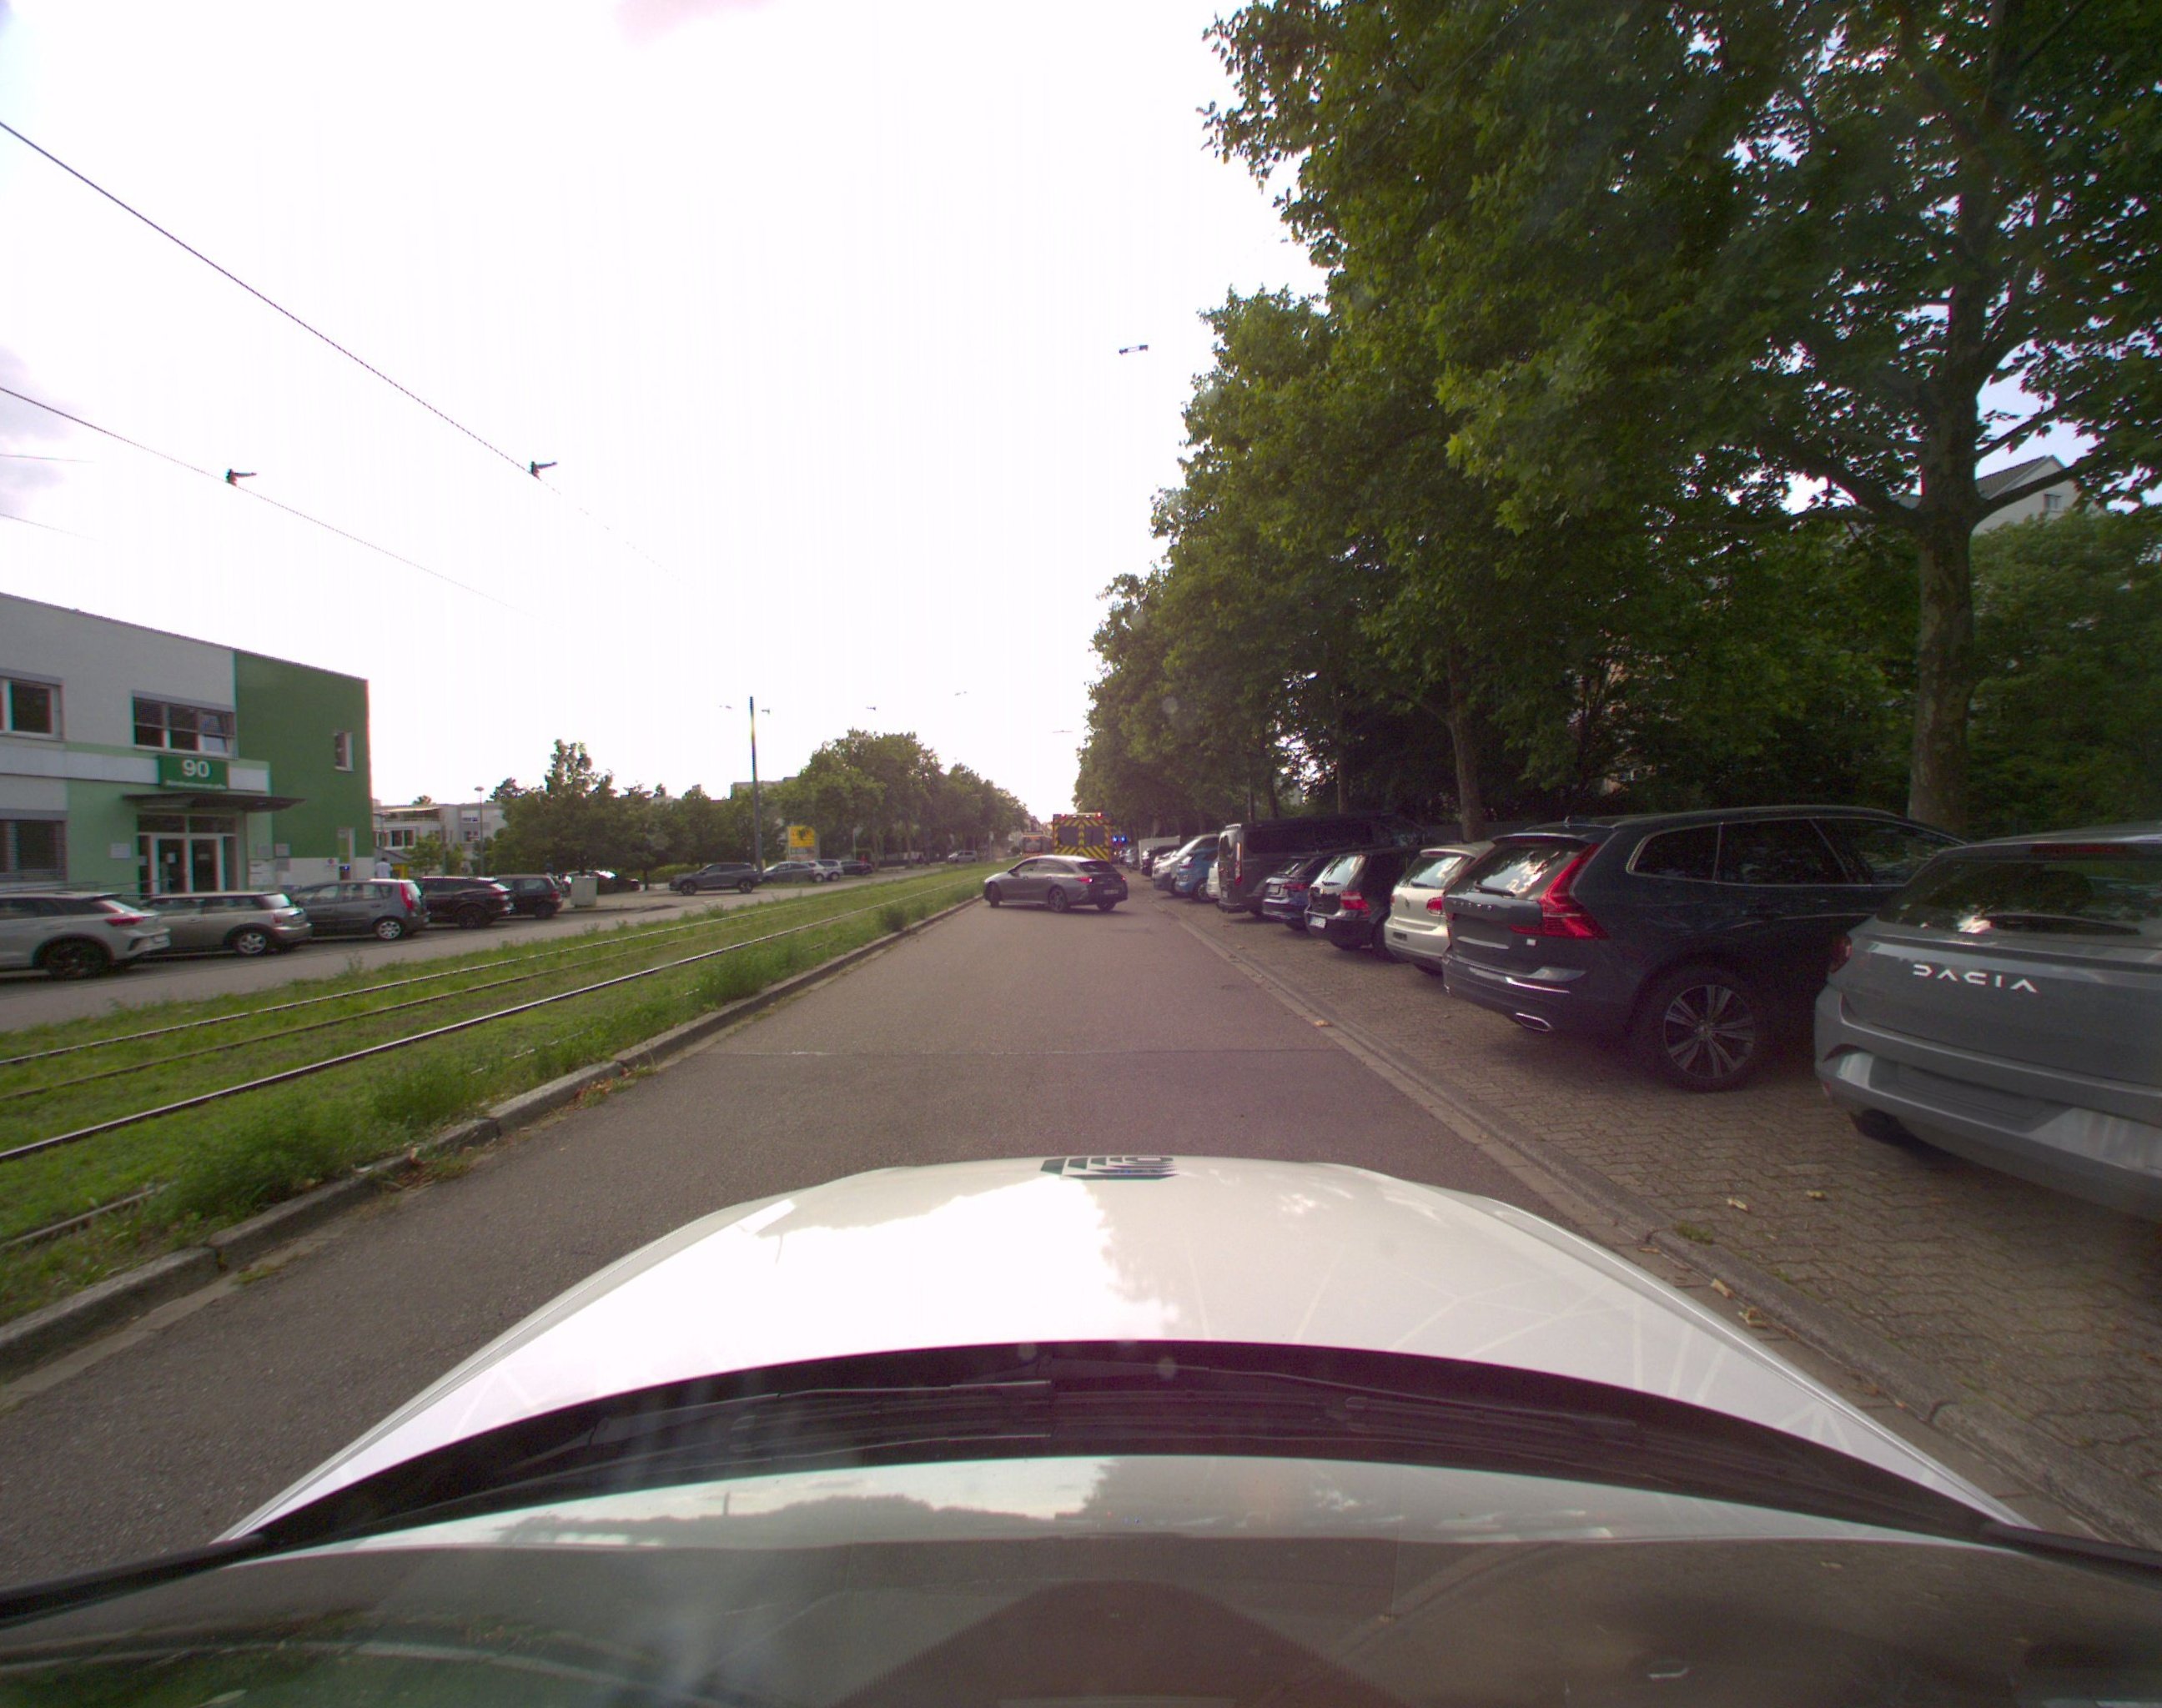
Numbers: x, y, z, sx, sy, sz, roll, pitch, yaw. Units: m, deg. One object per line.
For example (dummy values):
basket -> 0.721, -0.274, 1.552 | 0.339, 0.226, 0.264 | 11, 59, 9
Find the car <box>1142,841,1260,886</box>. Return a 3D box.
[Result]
car -> 4.973, 0.378, 34.155 | 4.537, 1.608, 1.853 | -3, 0, -4

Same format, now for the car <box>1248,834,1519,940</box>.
car -> 5.051, 0.531, 13.990 | 3.953, 1.494, 1.755 | -3, 0, -1

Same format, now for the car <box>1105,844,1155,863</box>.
car -> 4.733, -0.037, 78.954 | 4.537, 1.608, 1.853 | -3, 0, -4

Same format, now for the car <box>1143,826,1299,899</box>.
car -> 4.406, 0.249, 26.086 | 4.537, 2.000, 1.853 | -3, 0, -4

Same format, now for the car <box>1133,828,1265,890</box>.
car -> 4.383, 0.166, 30.680 | 4.537, 2.043, 1.853 | -3, 0, -4

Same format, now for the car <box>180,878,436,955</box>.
car -> -19.001, 1.468, 20.330 | 4.247, 1.482, 1.866 | -3, 1, -29

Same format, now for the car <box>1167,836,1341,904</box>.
car -> 4.924, 0.434, 23.552 | 4.538, 1.660, 1.853 | -3, 0, -5

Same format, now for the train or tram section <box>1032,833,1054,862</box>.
train or tram section -> -5.121, -0.840, 111.467 | 2.504, 3.584, 7.443 | -3, 0, 0

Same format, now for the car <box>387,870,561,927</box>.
car -> -19.449, 1.390, 26.368 | 4.247, 1.482, 1.866 | -3, 1, -29

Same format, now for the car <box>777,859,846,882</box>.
car -> -18.826, 1.125, 56.948 | 4.253, 1.482, 1.863 | -1, 0, -36

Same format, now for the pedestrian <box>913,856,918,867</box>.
pedestrian -> -21.421, 0.960, 105.247 | 0.417, 1.414, 0.470 | -2, 0, 25

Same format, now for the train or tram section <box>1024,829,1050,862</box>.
train or tram section -> -5.143, -0.967, 96.581 | 2.504, 3.584, 7.443 | -3, 0, 0

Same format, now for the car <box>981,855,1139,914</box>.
car -> -0.654, 0.737, 21.582 | 1.776, 1.385, 4.414 | 0, 0, -42

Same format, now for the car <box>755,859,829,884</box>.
car -> -19.092, 1.140, 53.921 | 4.253, 1.482, 1.863 | -1, 0, -36

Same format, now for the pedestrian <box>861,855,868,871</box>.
pedestrian -> -23.151, 0.985, 87.133 | 0.465, 1.676, 0.603 | -2, 0, -2

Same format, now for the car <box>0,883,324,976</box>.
car -> -19.228, 1.494, 17.284 | 4.247, 1.482, 1.866 | -3, 1, -29

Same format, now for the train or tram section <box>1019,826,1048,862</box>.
train or tram section -> -5.142, -1.031, 89.150 | 2.504, 3.584, 7.443 | -3, 0, 0

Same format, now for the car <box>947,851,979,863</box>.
car -> -18.749, 0.491, 129.685 | 4.651, 1.633, 1.861 | -3, 0, -39

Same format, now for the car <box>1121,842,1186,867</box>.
car -> 5.415, 0.065, 60.872 | 4.537, 1.608, 1.853 | -3, 0, -4

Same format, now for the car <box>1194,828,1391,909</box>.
car -> 5.354, 0.357, 21.021 | 4.532, 1.766, 1.855 | -3, 0, -1

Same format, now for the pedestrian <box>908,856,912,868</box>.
pedestrian -> -21.705, 0.988, 103.369 | 0.420, 1.473, 0.467 | -2, 0, -5

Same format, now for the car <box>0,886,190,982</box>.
car -> -19.127, 1.453, 14.336 | 4.252, 1.482, 1.863 | -3, 1, -34

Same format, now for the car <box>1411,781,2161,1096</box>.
car -> 4.821, 0.472, 5.573 | 4.364, 1.639, 1.757 | -3, 0, 1

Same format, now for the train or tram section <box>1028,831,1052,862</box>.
train or tram section -> -5.136, -0.904, 104.025 | 2.504, 3.584, 7.443 | -3, 0, 0

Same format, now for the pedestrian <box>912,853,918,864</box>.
pedestrian -> -23.016, 0.658, 112.858 | 0.631, 1.551, 0.621 | -2, 0, -3

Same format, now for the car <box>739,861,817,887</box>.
car -> -18.941, 1.196, 51.003 | 4.253, 1.482, 1.863 | -1, 0, -36

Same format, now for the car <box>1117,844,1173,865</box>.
car -> 5.533, 0.020, 70.723 | 4.537, 1.608, 1.853 | -3, 0, -4

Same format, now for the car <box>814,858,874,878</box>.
car -> -18.938, 1.128, 65.152 | 4.256, 1.482, 1.861 | -1, 0, -40

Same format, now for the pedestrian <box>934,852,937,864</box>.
pedestrian -> -22.326, 0.556, 124.950 | 0.465, 1.828, 0.422 | -2, 0, -2

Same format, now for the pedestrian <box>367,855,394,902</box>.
pedestrian -> -28.094, 0.969, 32.667 | 0.544, 1.828, 0.508 | -2, 0, -2

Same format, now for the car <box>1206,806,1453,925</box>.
car -> 5.085, 0.215, 17.086 | 4.532, 2.123, 1.855 | -3, 0, -1

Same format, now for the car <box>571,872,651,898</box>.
car -> -29.483, 1.919, 51.157 | 3.971, 1.565, 1.778 | 0, -1, 2

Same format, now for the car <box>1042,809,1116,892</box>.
car -> 0.032, -0.123, 32.687 | 2.631, 2.966, 6.302 | 1, 0, 2

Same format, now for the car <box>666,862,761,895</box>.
car -> -18.413, 1.186, 40.885 | 4.242, 1.482, 1.868 | -1, 0, -25

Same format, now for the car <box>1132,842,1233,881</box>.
car -> 4.854, 0.334, 39.311 | 4.537, 1.608, 1.853 | -3, 0, -4

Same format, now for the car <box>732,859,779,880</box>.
car -> -29.743, 1.393, 74.464 | 3.949, 1.750, 2.013 | 0, 0, 31

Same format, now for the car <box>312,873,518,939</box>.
car -> -18.902, 1.422, 23.402 | 4.247, 1.482, 1.866 | -3, 1, -29

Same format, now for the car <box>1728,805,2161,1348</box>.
car -> 5.220, 0.523, 2.899 | 4.364, 1.501, 1.757 | -3, 0, 1

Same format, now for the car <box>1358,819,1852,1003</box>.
car -> 5.156, 0.521, 8.412 | 3.953, 1.494, 1.755 | -3, 0, -1

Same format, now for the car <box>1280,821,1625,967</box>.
car -> 4.979, 0.475, 11.135 | 3.967, 1.605, 1.750 | -3, 0, -11
